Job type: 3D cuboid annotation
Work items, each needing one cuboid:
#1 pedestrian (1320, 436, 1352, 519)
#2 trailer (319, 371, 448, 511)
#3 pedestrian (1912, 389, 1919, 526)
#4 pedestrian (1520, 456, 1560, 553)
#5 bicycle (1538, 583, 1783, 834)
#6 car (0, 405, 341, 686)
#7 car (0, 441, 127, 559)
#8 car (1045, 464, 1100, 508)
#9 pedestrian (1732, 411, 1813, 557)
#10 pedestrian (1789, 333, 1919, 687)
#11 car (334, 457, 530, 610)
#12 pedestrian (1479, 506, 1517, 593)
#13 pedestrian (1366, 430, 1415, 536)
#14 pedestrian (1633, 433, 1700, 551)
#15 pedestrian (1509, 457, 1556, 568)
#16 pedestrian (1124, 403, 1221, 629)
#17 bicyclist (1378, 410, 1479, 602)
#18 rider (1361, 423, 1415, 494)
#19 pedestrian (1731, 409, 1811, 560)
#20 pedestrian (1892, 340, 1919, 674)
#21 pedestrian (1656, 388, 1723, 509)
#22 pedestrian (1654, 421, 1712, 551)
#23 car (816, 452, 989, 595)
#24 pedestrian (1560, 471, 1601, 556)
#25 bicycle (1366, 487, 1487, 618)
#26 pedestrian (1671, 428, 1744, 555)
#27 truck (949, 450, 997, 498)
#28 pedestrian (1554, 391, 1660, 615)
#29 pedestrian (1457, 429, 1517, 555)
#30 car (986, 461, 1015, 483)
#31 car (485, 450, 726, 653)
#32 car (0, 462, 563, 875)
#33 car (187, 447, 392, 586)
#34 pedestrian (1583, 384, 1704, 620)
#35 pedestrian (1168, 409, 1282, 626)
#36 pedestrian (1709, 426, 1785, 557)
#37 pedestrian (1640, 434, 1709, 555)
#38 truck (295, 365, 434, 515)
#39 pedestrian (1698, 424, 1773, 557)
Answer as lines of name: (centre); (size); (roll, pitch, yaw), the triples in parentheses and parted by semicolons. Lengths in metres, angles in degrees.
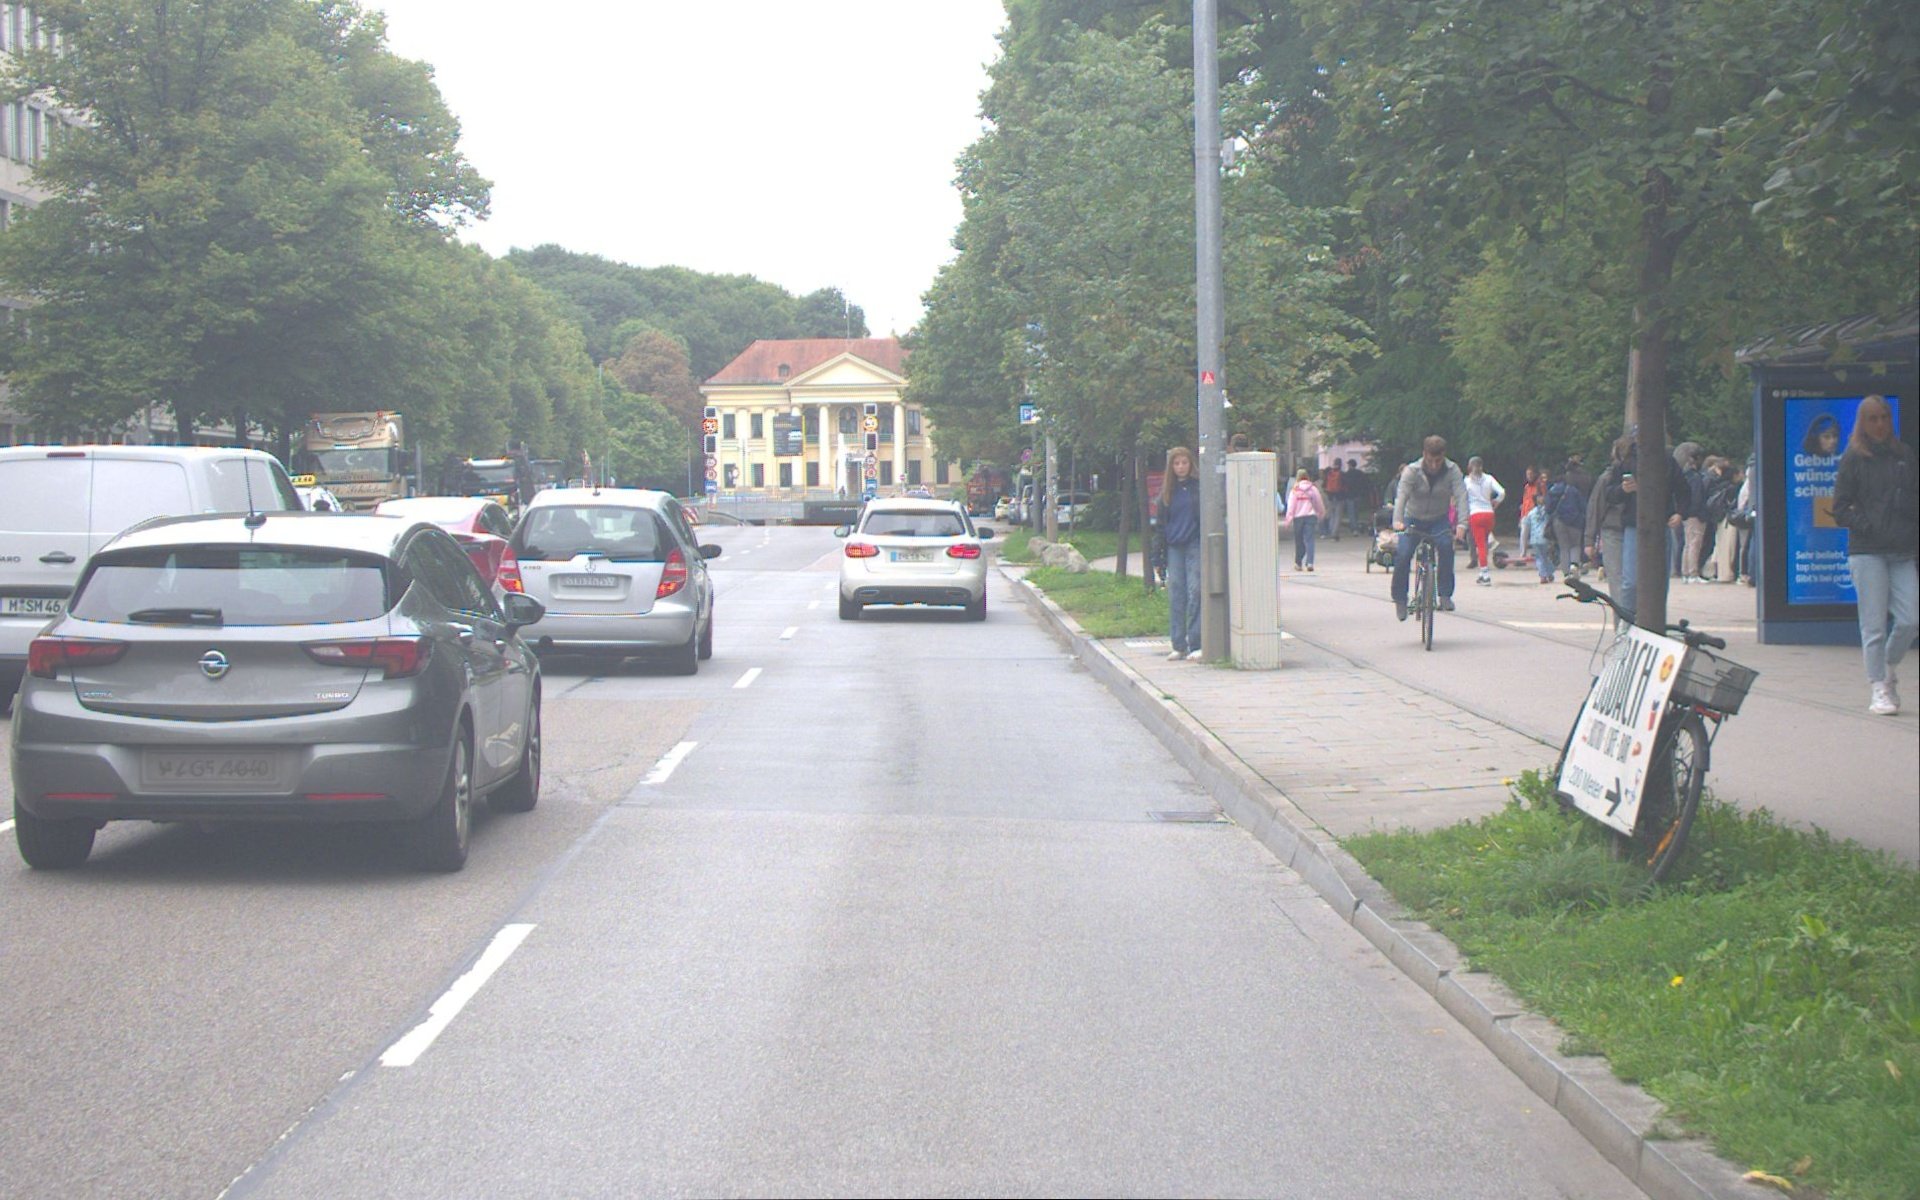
pedestrian: (8.350, -2.729, 76.414); (0.588, 1.816, 0.850); (1, 2, 0)
trailer: (-16.427, -4.522, 98.603); (2.949, 3.727, 11.774); (1, 2, -6)
pedestrian: (10.994, -1.564, 37.834); (0.812, 1.502, 0.729); (1, 2, 2)
pedestrian: (8.040, -1.324, 47.647); (0.458, 1.322, 0.648); (1, 2, 4)
bicycle: (2.550, 0.365, 12.679); (0.493, 0.791, 1.890); (1, 2, 0)
car: (-5.886, -0.437, 25.134); (1.898, 1.841, 4.956); (-1, 2, -1)
car: (-21.331, -2.178, 75.336); (5.679, 2.527, 2.157); (-1, 2, -4)
car: (4.069, -4.153, 124.939); (1.827, 1.544, 4.752); (-1, 2, 0)
pedestrian: (10.052, -1.436, 42.560); (0.812, 1.784, 0.729); (1, 2, 2)
pedestrian: (5.103, -0.502, 19.114); (0.708, 1.908, 0.956); (1, 2, -1)
car: (-6.016, -0.800, 39.557); (1.779, 1.648, 4.001); (1, 2, -2)
pedestrian: (10.445, -0.988, 66.735); (0.632, 1.661, 0.572); (1, 2, 15)
pedestrian: (6.944, -1.883, 55.448); (0.726, 1.685, 0.648); (1, 2, 4)
pedestrian: (10.253, -1.566, 49.901); (0.812, 1.685, 0.729); (1, 2, 2)
pedestrian: (7.910, -1.215, 47.501); (0.549, 1.522, 0.648); (1, 2, 4)
pedestrian: (1.722, -0.685, 27.911); (0.708, 1.802, 0.639); (1, 2, -1)
bicyclist: (3.849, -0.777, 28.286); (0.708, 1.556, 0.639); (1, 2, -1)
rider: (6.754, -2.231, 54.273); (0.765, 1.108, 1.244); (1, 2, 4)
pedestrian: (10.208, -1.457, 43.302); (0.812, 1.868, 0.729); (1, 2, 2)
pedestrian: (5.837, -0.528, 19.651); (0.708, 1.908, 0.956); (1, 2, -1)
pedestrian: (10.203, -2.116, 48.106); (0.812, 1.685, 0.729); (0, 2, 2)
pedestrian: (9.530, -1.502, 45.337); (0.591, 1.685, 0.729); (1, 2, 2)
car: (-0.753, -0.970, 42.190); (1.779, 1.639, 4.001); (1, 2, -6)
pedestrian: (8.521, -1.190, 47.211); (0.458, 1.149, 0.648); (1, 2, 4)
bicycle: (3.831, -0.409, 28.362); (0.675, 1.027, 2.013); (1, 2, -1)
pedestrian: (10.074, -1.463, 46.368); (0.812, 1.685, 0.729); (-1, 2, 2)
truck: (0.906, -9.035, 246.747); (3.325, 3.355, 8.663); (1, 2, 0)
pedestrian: (5.269, -0.793, 28.026); (0.708, 1.802, 0.639); (1, 2, -1)
pedestrian: (7.089, -1.456, 46.274); (0.726, 1.685, 0.648); (1, 2, 5)
car: (2.463, -7.804, 209.689); (1.724, 1.319, 4.028); (-1, 2, 0)
car: (-3.061, -0.476, 30.376); (1.779, 1.648, 4.001); (1, 2, -1)
car: (-2.843, 0.187, 15.071); (1.710, 1.546, 4.000); (1, 2, 0)
car: (-9.144, -1.188, 47.226); (1.857, 1.742, 4.630); (-2, 2, 0)
pedestrian: (5.339, -0.769, 26.891); (0.708, 1.802, 0.950); (1, 2, -1)
pedestrian: (2.335, -0.733, 30.264); (0.805, 1.874, 0.543); (2, 2, 36)
pedestrian: (10.261, -1.415, 44.832); (0.812, 1.685, 0.729); (1, 2, 2)
pedestrian: (10.162, -1.502, 48.918); (0.812, 1.685, 0.729); (-1, 2, 2)
truck: (-15.710, -4.206, 91.129); (2.915, 3.761, 7.668); (1, 2, -5)
pedestrian: (10.277, -1.452, 45.567); (0.812, 1.733, 0.729); (1, 2, 2)
